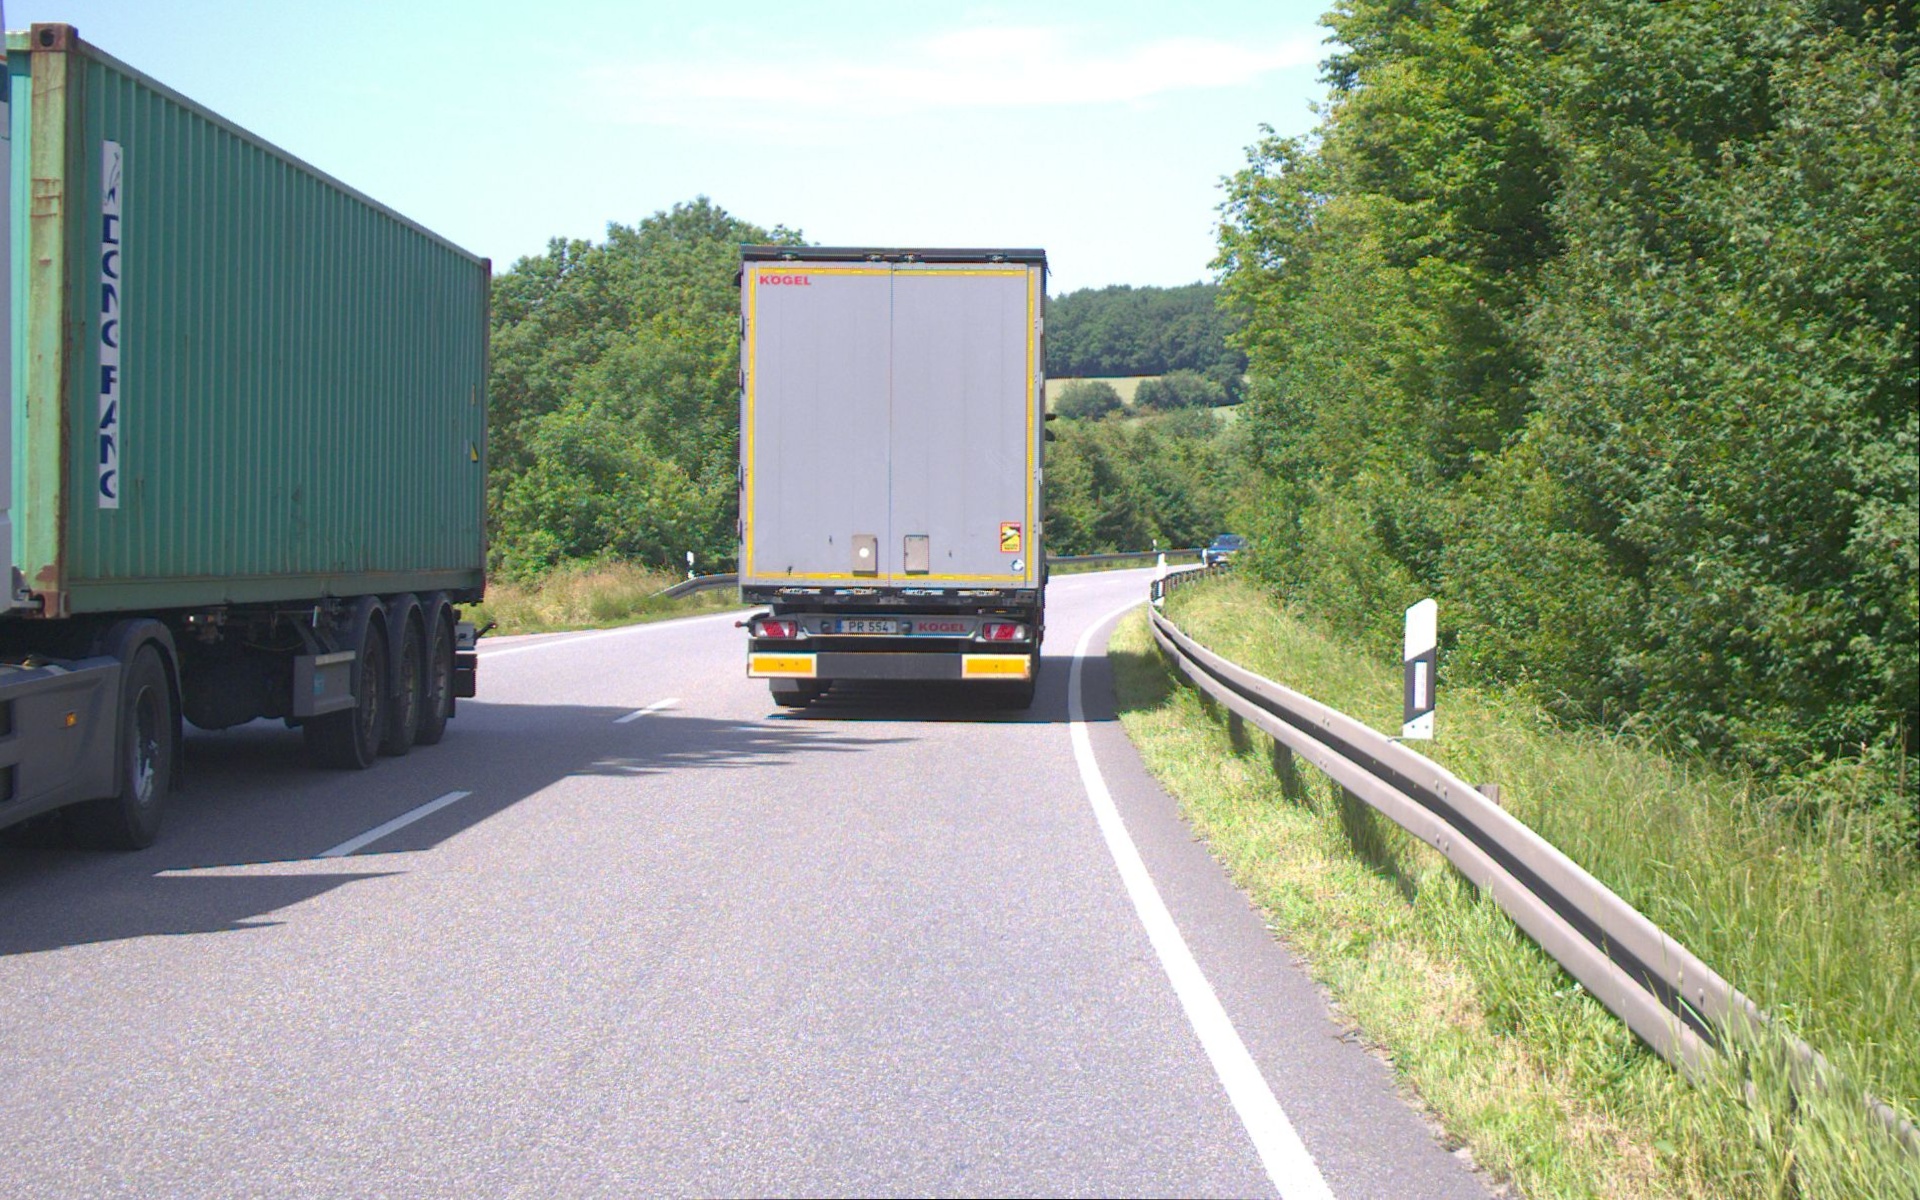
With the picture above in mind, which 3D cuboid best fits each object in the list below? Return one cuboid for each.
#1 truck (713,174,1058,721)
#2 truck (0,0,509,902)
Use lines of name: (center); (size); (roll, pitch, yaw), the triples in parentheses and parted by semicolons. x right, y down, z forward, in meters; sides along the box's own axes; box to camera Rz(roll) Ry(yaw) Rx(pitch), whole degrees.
truck: (-0.524, -1.402, 34.520); (2.817, 4.517, 11.768); (1, 1, 1)
truck: (-5.046, -0.907, 19.643); (2.560, 3.926, 16.161); (2, 1, 1)
